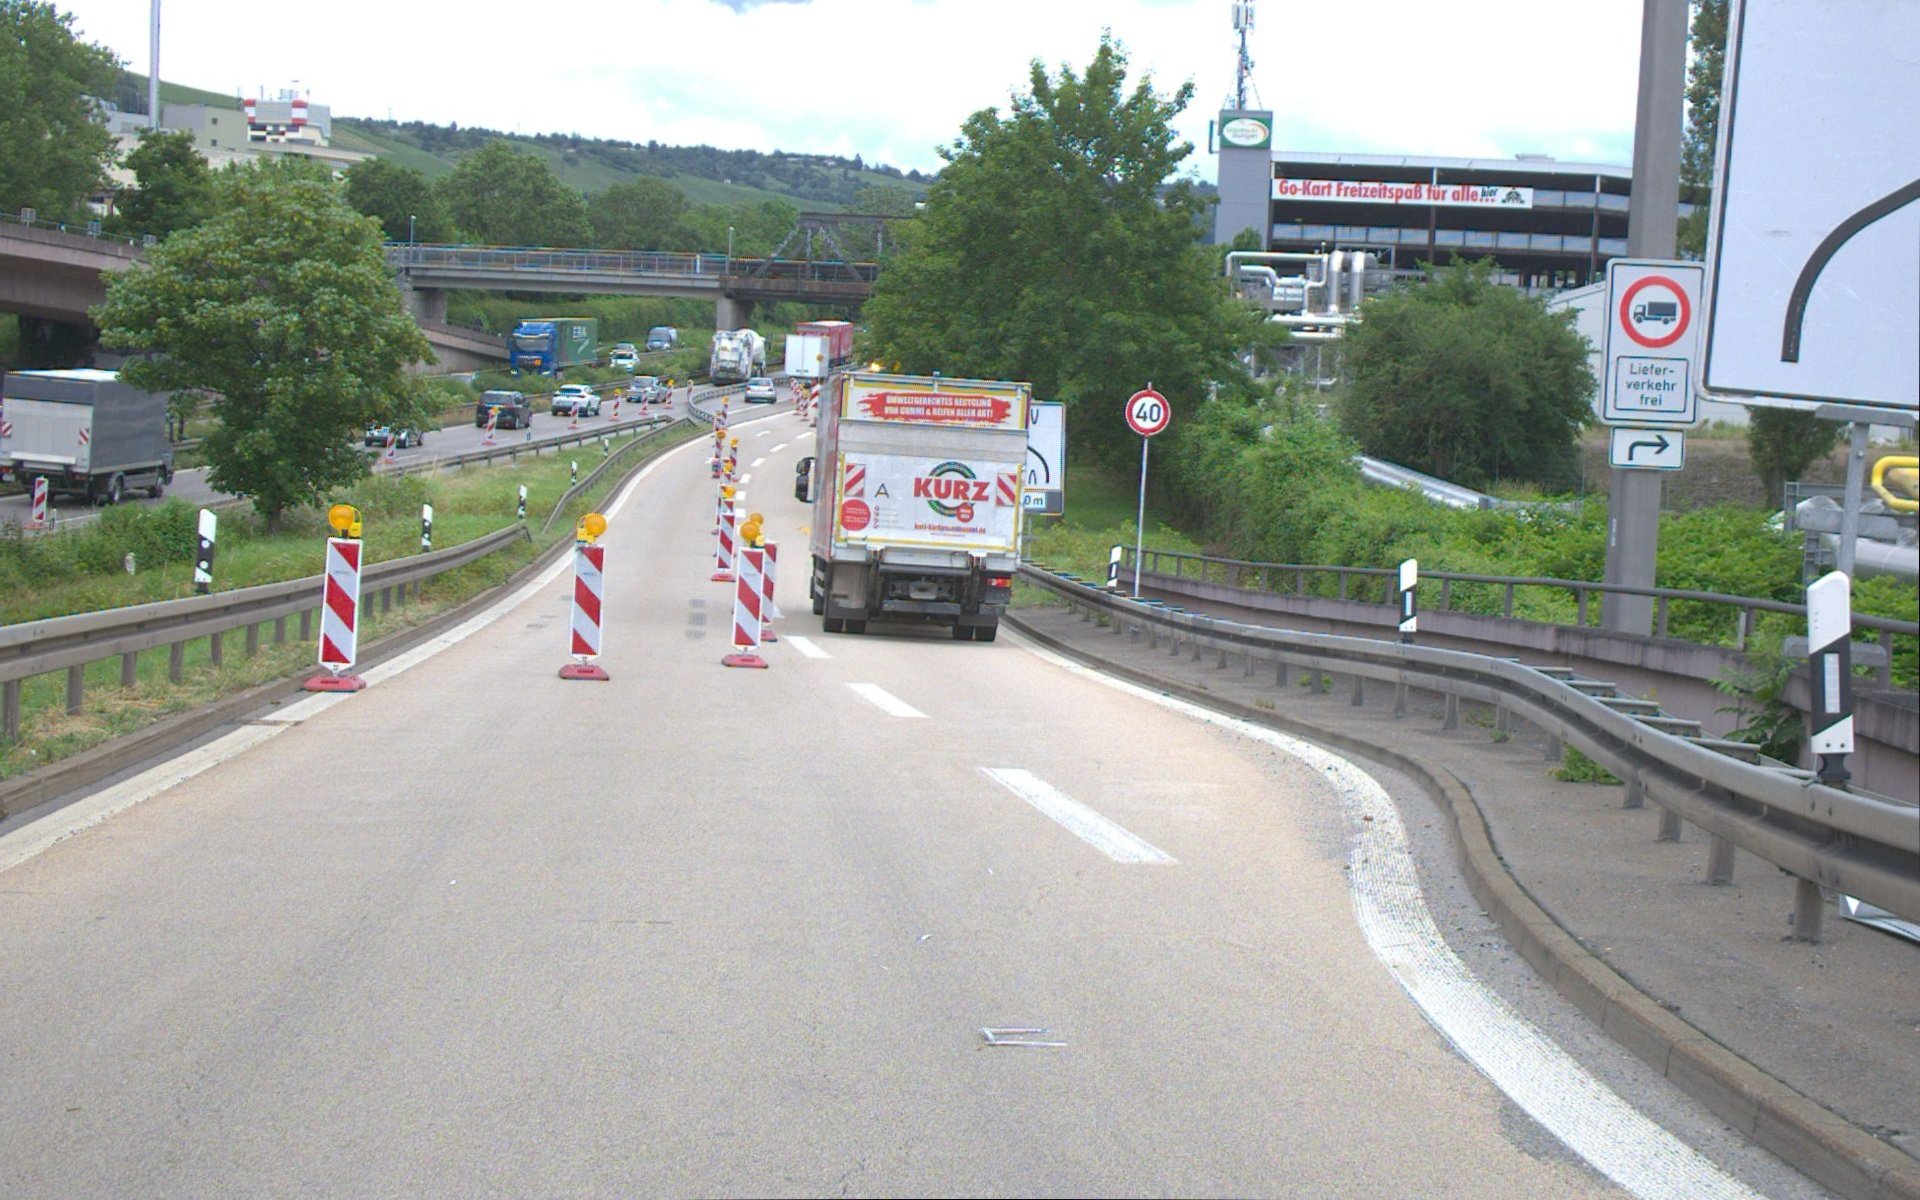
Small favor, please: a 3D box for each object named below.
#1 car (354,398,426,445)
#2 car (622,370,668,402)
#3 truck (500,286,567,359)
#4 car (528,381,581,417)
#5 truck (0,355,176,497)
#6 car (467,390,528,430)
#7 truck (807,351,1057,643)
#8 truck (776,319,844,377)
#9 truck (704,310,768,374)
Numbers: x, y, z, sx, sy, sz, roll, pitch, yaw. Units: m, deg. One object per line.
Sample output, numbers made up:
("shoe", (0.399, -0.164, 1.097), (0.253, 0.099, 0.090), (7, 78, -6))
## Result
("car", (-22.067, -6.934, 133.167), (1.993, 1.612, 4.001), (3, 4, 1))
("car", (-17.220, -11.707, 188.052), (1.993, 1.612, 4.001), (3, 4, 1))
("truck", (-25.969, -16.874, 209.424), (2.753, 4.256, 5.503), (3, 4, 5))
("car", (-19.770, -9.821, 167.684), (1.993, 1.612, 4.001), (3, 4, 1))
("truck", (-24.428, -4.933, 95.963), (3.051, 3.643, 7.397), (3, 4, 2))
("car", (-20.440, -8.407, 152.052), (1.993, 1.612, 4.001), (3, 4, 1))
("truck", (-0.540, -1.501, 48.837), (3.050, 3.660, 7.929), (3, 2, -3))
("truck", (-9.876, -16.622, 226.870), (3.287, 3.587, 7.665), (3, 4, 5))
("truck", (-14.353, -16.563, 220.665), (3.286, 3.838, 7.666), (3, 4, 1))
